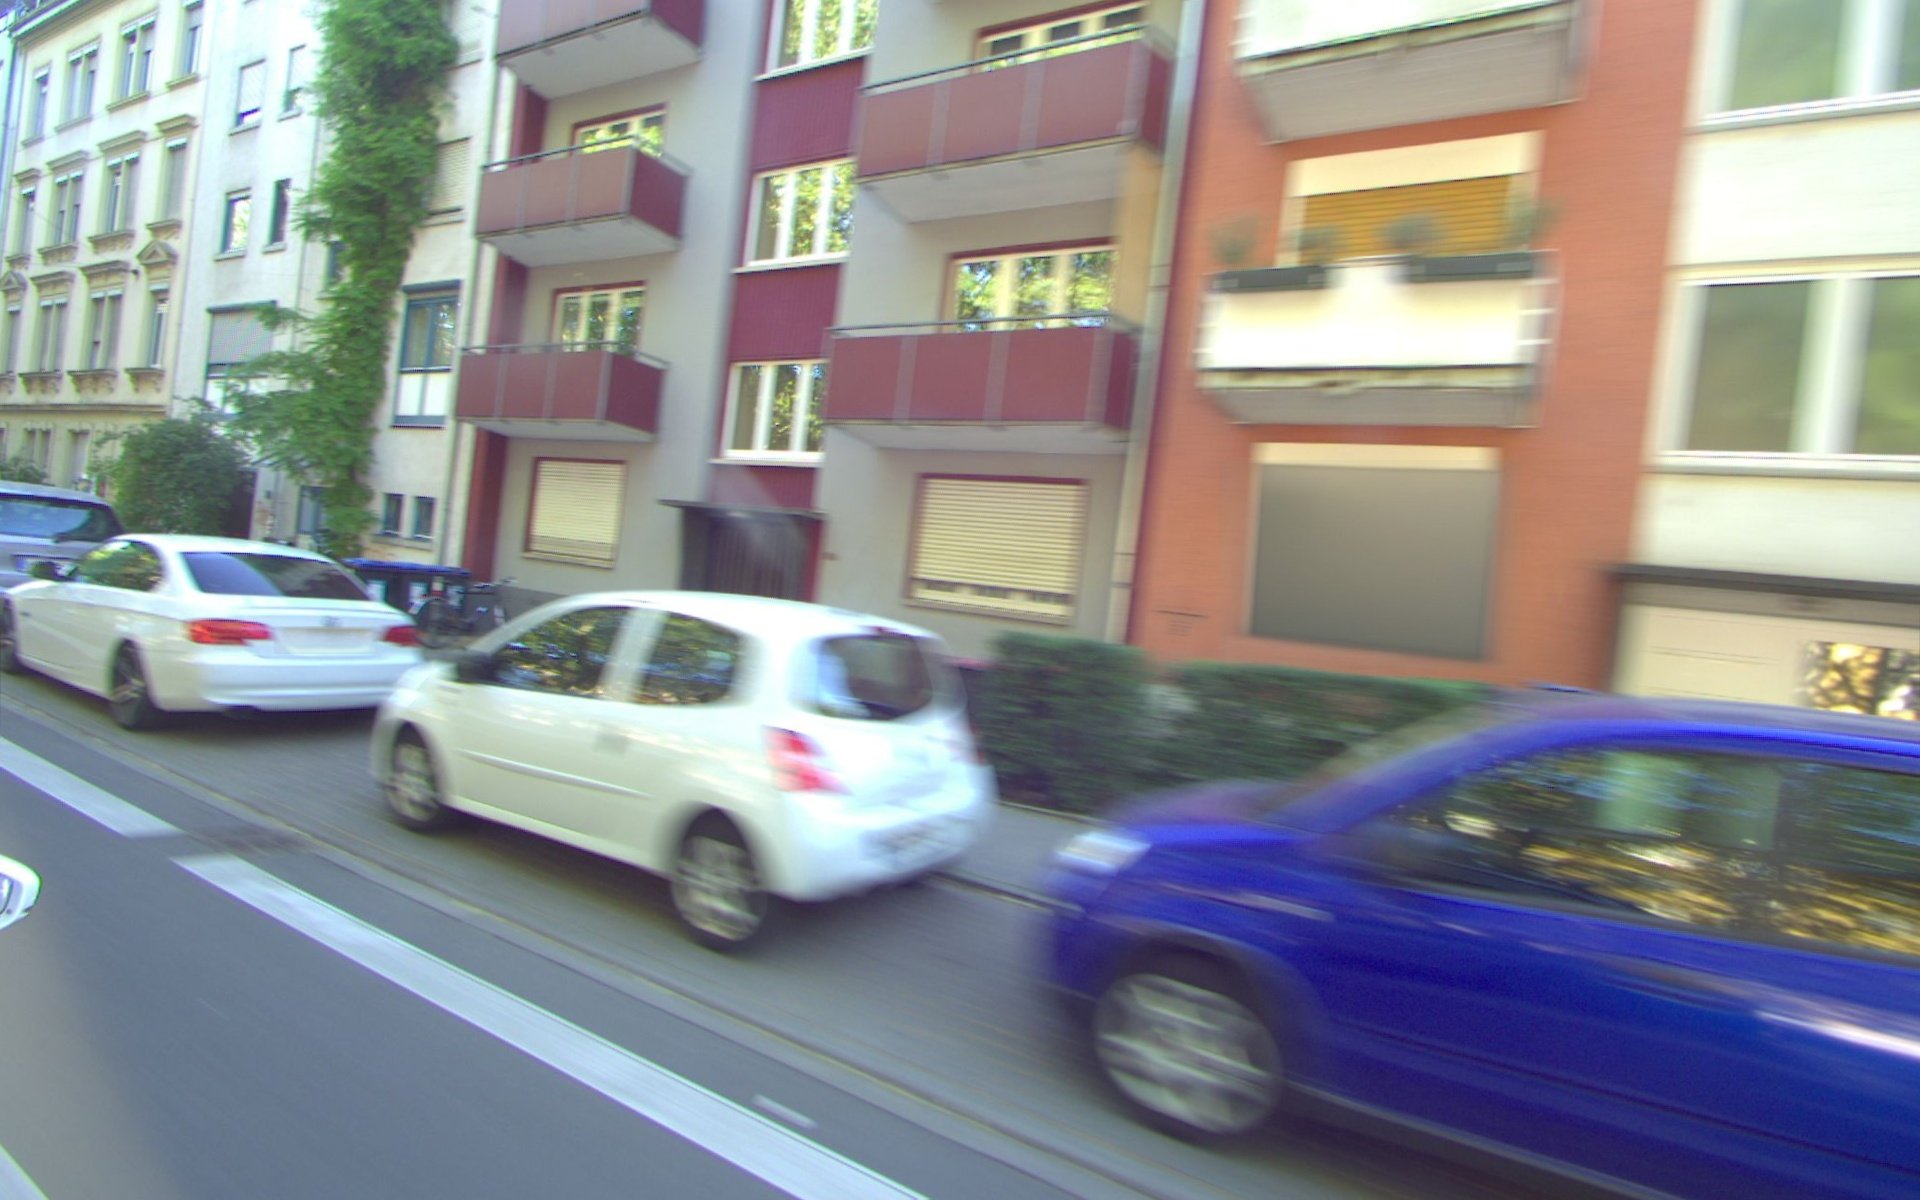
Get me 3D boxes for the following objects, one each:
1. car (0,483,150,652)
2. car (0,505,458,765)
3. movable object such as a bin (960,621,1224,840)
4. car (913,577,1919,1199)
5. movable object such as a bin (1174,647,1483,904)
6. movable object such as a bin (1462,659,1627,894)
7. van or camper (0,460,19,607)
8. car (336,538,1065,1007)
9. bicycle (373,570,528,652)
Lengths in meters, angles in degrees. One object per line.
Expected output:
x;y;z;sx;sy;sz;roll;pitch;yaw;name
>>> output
-10.569;-0.476;10.900;3.529;1.601;1.661;7;1;32;car
-6.339;0.132;8.291;4.660;1.418;1.660;7;2;31;car
1.018;0.955;7.785;1.654;1.342;0.925;7;-1;32;movable object such as a bin
1.885;0.967;3.271;3.688;1.608;1.529;7;-1;30;car
2.512;1.116;6.870;1.693;1.342;0.968;7;-1;32;movable object such as a bin
3.946;1.136;6.798;0.762;1.342;1.154;7;-1;32;movable object such as a bin
-14.598;-1.111;13.508;4.139;1.907;1.670;7;1;30;van or camper
-1.540;0.626;5.466;3.772;1.547;1.592;6;2;32;car
-7.200;0.186;14.305;0.469;1.043;1.892;7;2;36;bicycle
